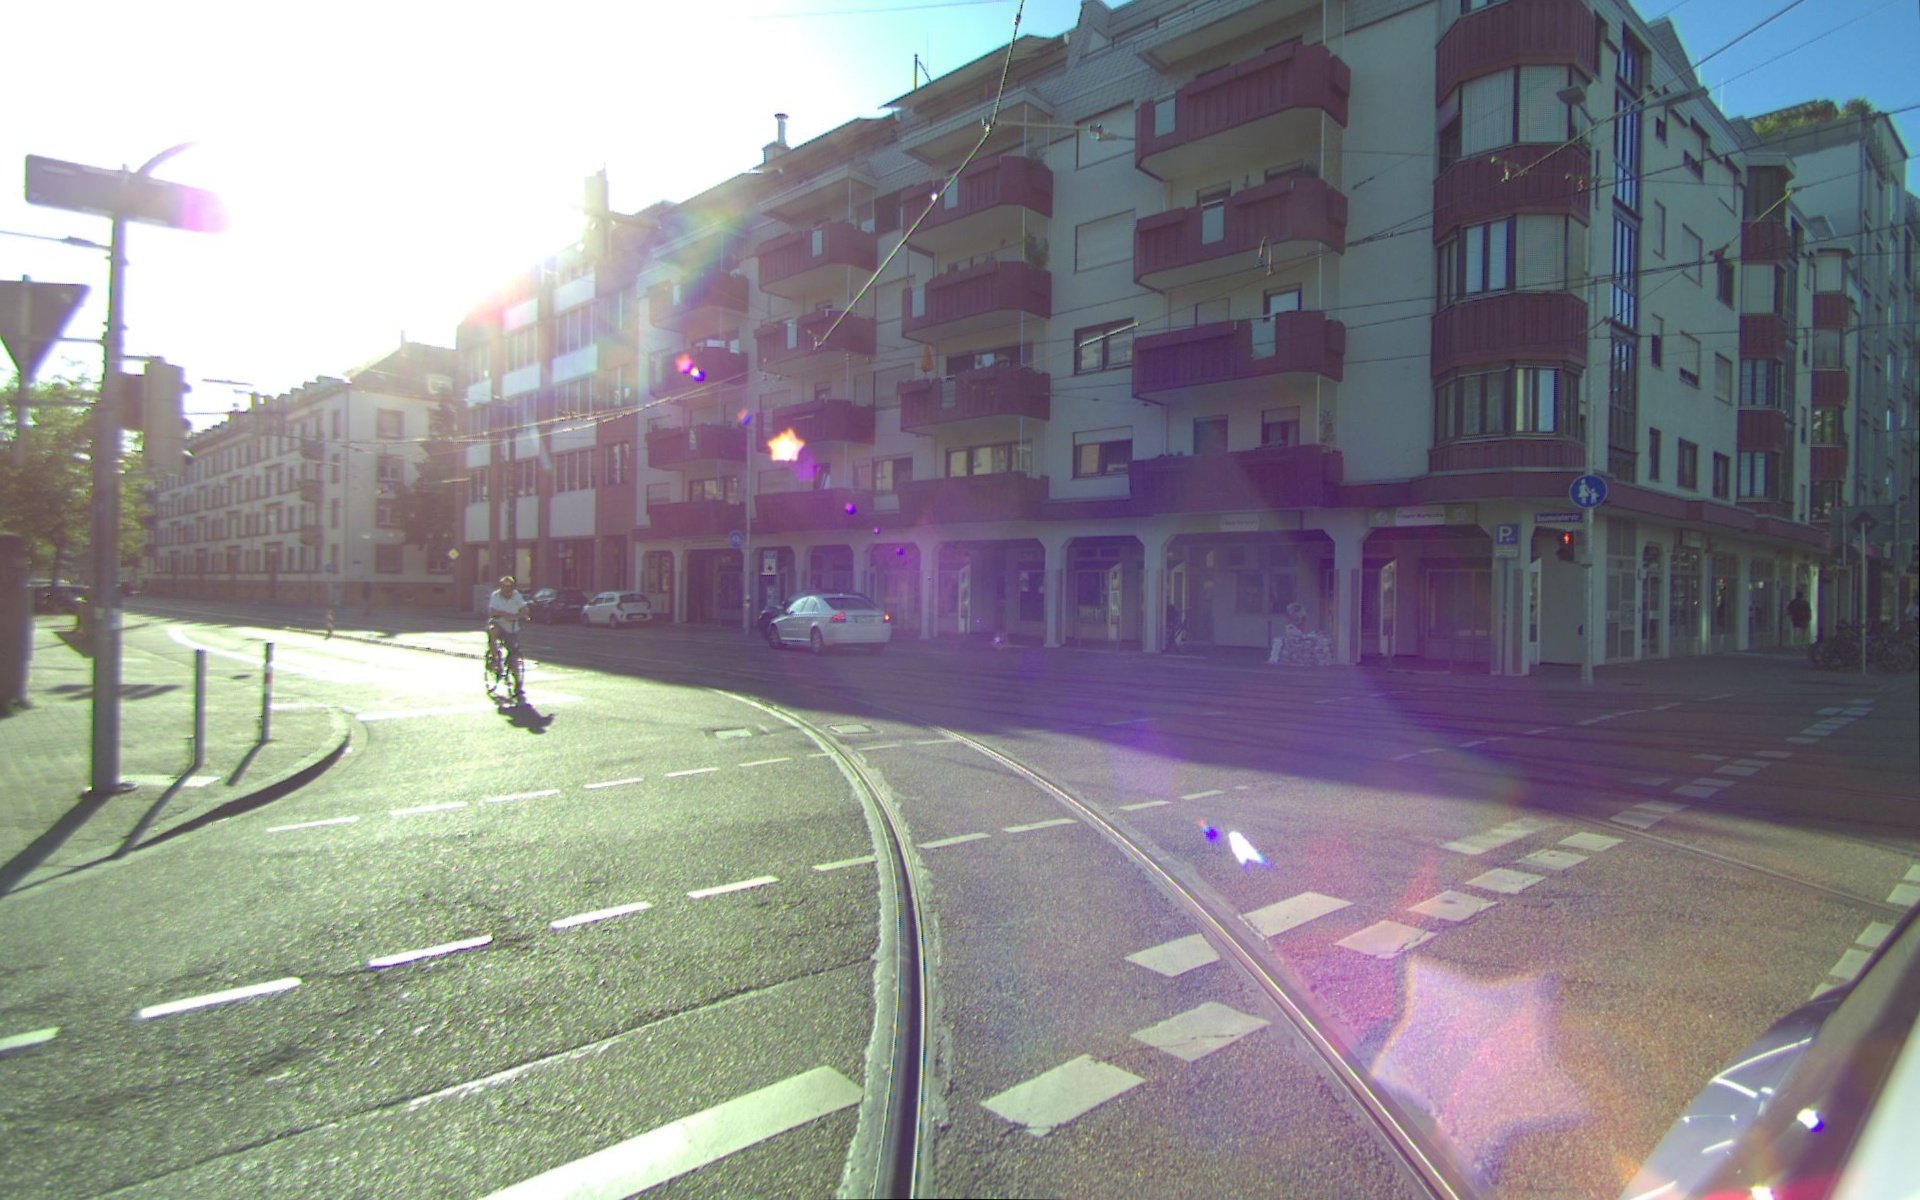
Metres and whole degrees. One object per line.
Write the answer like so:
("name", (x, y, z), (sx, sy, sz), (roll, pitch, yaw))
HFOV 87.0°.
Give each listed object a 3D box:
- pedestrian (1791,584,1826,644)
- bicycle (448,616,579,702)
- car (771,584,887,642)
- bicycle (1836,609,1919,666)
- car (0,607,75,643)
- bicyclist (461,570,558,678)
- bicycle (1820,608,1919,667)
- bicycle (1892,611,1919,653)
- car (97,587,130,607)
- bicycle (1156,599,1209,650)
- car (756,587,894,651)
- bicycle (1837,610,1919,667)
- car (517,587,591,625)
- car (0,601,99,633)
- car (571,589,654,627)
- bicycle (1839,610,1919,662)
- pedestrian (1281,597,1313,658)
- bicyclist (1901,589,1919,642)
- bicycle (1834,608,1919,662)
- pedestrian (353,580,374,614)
("pedestrian", (27.084, 0.432, 32.298), (0.787, 1.881, 0.724), (1, 0, -40))
("bicycle", (-6.639, 0.832, 14.986), (2.320, 1.133, 0.834), (1, -1, 40))
("car", (-4.147, 0.406, 31.539), (1.708, 1.705, 3.900), (0, -1, -41))
("bicycle", (21.226, 0.843, 23.076), (0.487, 1.236, 1.837), (1, 0, -36))
("car", (-47.892, 1.248, 50.927), (1.976, 1.739, 4.704), (1, 0, 21))
("bicyclist", (-6.717, 0.343, 15.090), (0.923, 1.528, 0.998), (0, -1, 39))
("bicycle", (20.189, 0.808, 22.300), (0.535, 1.214, 1.808), (-1, 1, -35))
("bicycle", (28.765, 0.945, 29.940), (0.953, 1.198, 2.577), (1, 0, 24))
("car", (-84.630, -0.306, 101.186), (3.983, 1.873, 1.970), (-2, -2, 42))
("bicycle", (5.562, 0.598, 25.378), (0.603, 1.214, 1.801), (1, 1, -12))
("car", (-3.581, 0.439, 26.042), (1.818, 1.474, 4.905), (1, 0, -30))
("bicycle", (20.726, 0.843, 22.628), (0.486, 1.214, 1.628), (1, 0, -35))
("car", (-18.192, 0.284, 45.282), (1.858, 1.638, 3.992), (0, -1, -41))
("car", (-45.341, 0.801, 49.435), (1.885, 1.469, 4.704), (1, 0, 21))
("car", (-14.314, 0.325, 41.582), (1.880, 1.489, 3.992), (0, -1, -41))
("bicycle", (22.271, 0.852, 24.129), (0.562, 1.185, 1.942), (1, 0, -42))
("pedestrian", (7.729, 0.618, 23.196), (0.656, 1.367, 0.651), (0, -1, 23))
("bicyclist", (28.758, 0.451, 29.936), (1.048, 1.559, 1.070), (1, 0, 24))
("bicycle", (21.819, 0.812, 23.719), (0.581, 1.214, 1.978), (1, 0, -43))
("pedestrian", (-31.675, -0.175, 53.748), (0.985, 1.792, 0.686), (0, -1, 42))
